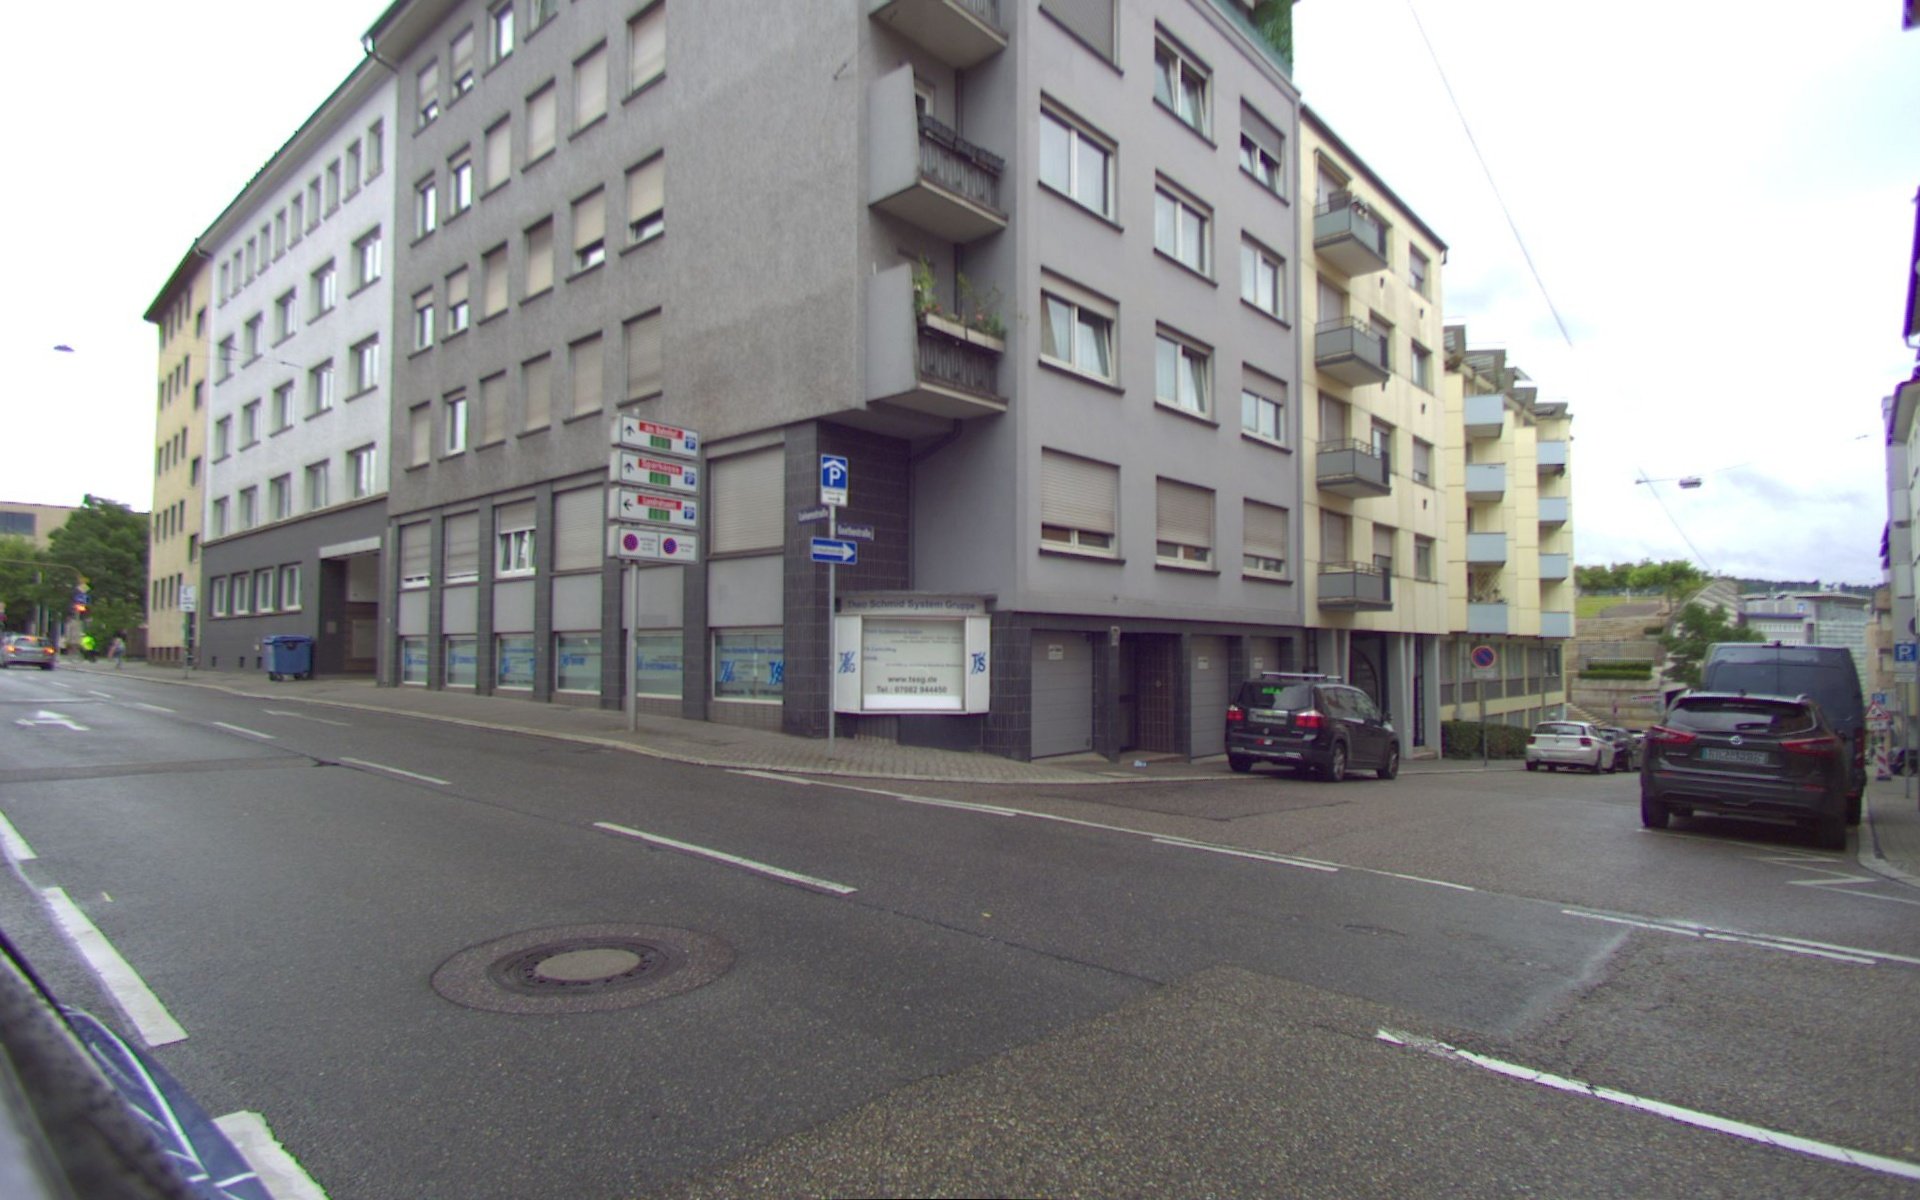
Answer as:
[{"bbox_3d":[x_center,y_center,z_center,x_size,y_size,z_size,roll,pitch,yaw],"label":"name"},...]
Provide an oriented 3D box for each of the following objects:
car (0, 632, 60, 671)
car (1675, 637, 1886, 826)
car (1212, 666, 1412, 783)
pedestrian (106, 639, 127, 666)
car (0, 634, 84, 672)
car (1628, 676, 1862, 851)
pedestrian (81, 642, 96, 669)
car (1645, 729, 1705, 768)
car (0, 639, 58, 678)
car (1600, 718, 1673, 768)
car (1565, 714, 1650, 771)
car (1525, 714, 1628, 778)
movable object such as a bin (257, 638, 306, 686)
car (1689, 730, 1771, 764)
[{"bbox_3d":[-48.947,2.683,52.091,1.692,1.847,3.744,-2,0,42],"label":"car"},{"bbox_3d":[13.365,2.092,16.418,2.249,2.481,5.975,-2,-7,41],"label":"car"},{"bbox_3d":[6.167,2.169,17.436,1.795,1.700,4.186,-2,-8,41],"label":"car"},{"bbox_3d":[-36.482,2.262,43.776,0.407,1.158,0.575,-2,-6,43],"label":"pedestrian"},{"bbox_3d":[-46.794,2.655,50.940,1.902,1.728,3.877,-2,0,42],"label":"car"},{"bbox_3d":[9.165,1.836,11.724,1.842,1.589,4.098,-2,-8,41],"label":"car"},{"bbox_3d":[-45.747,2.907,53.100,0.535,1.380,0.436,-2,-6,43],"label":"pedestrian"},{"bbox_3d":[31.539,6.569,44.620,1.747,1.476,3.945,-2,-8,41],"label":"car"},{"bbox_3d":[-40.970,2.510,44.176,4.371,1.602,1.858,-1,-3,41],"label":"car"},{"bbox_3d":[25.034,5.297,37.417,1.747,1.627,3.945,-2,-8,41],"label":"car"},{"bbox_3d":[20.926,4.597,32.640,1.747,1.627,3.945,-2,-7,41],"label":"car"},{"bbox_3d":[17.423,4.099,28.549,1.840,1.559,3.945,-2,-7,41],"label":"car"},{"bbox_3d":[-20.092,1.821,29.955,1.096,1.343,0.933,-2,0,42],"label":"movable object such as a bin"},{"bbox_3d":[45.282,8.625,59.506,3.984,1.688,1.937,6,-6,-19],"label":"car"}]
